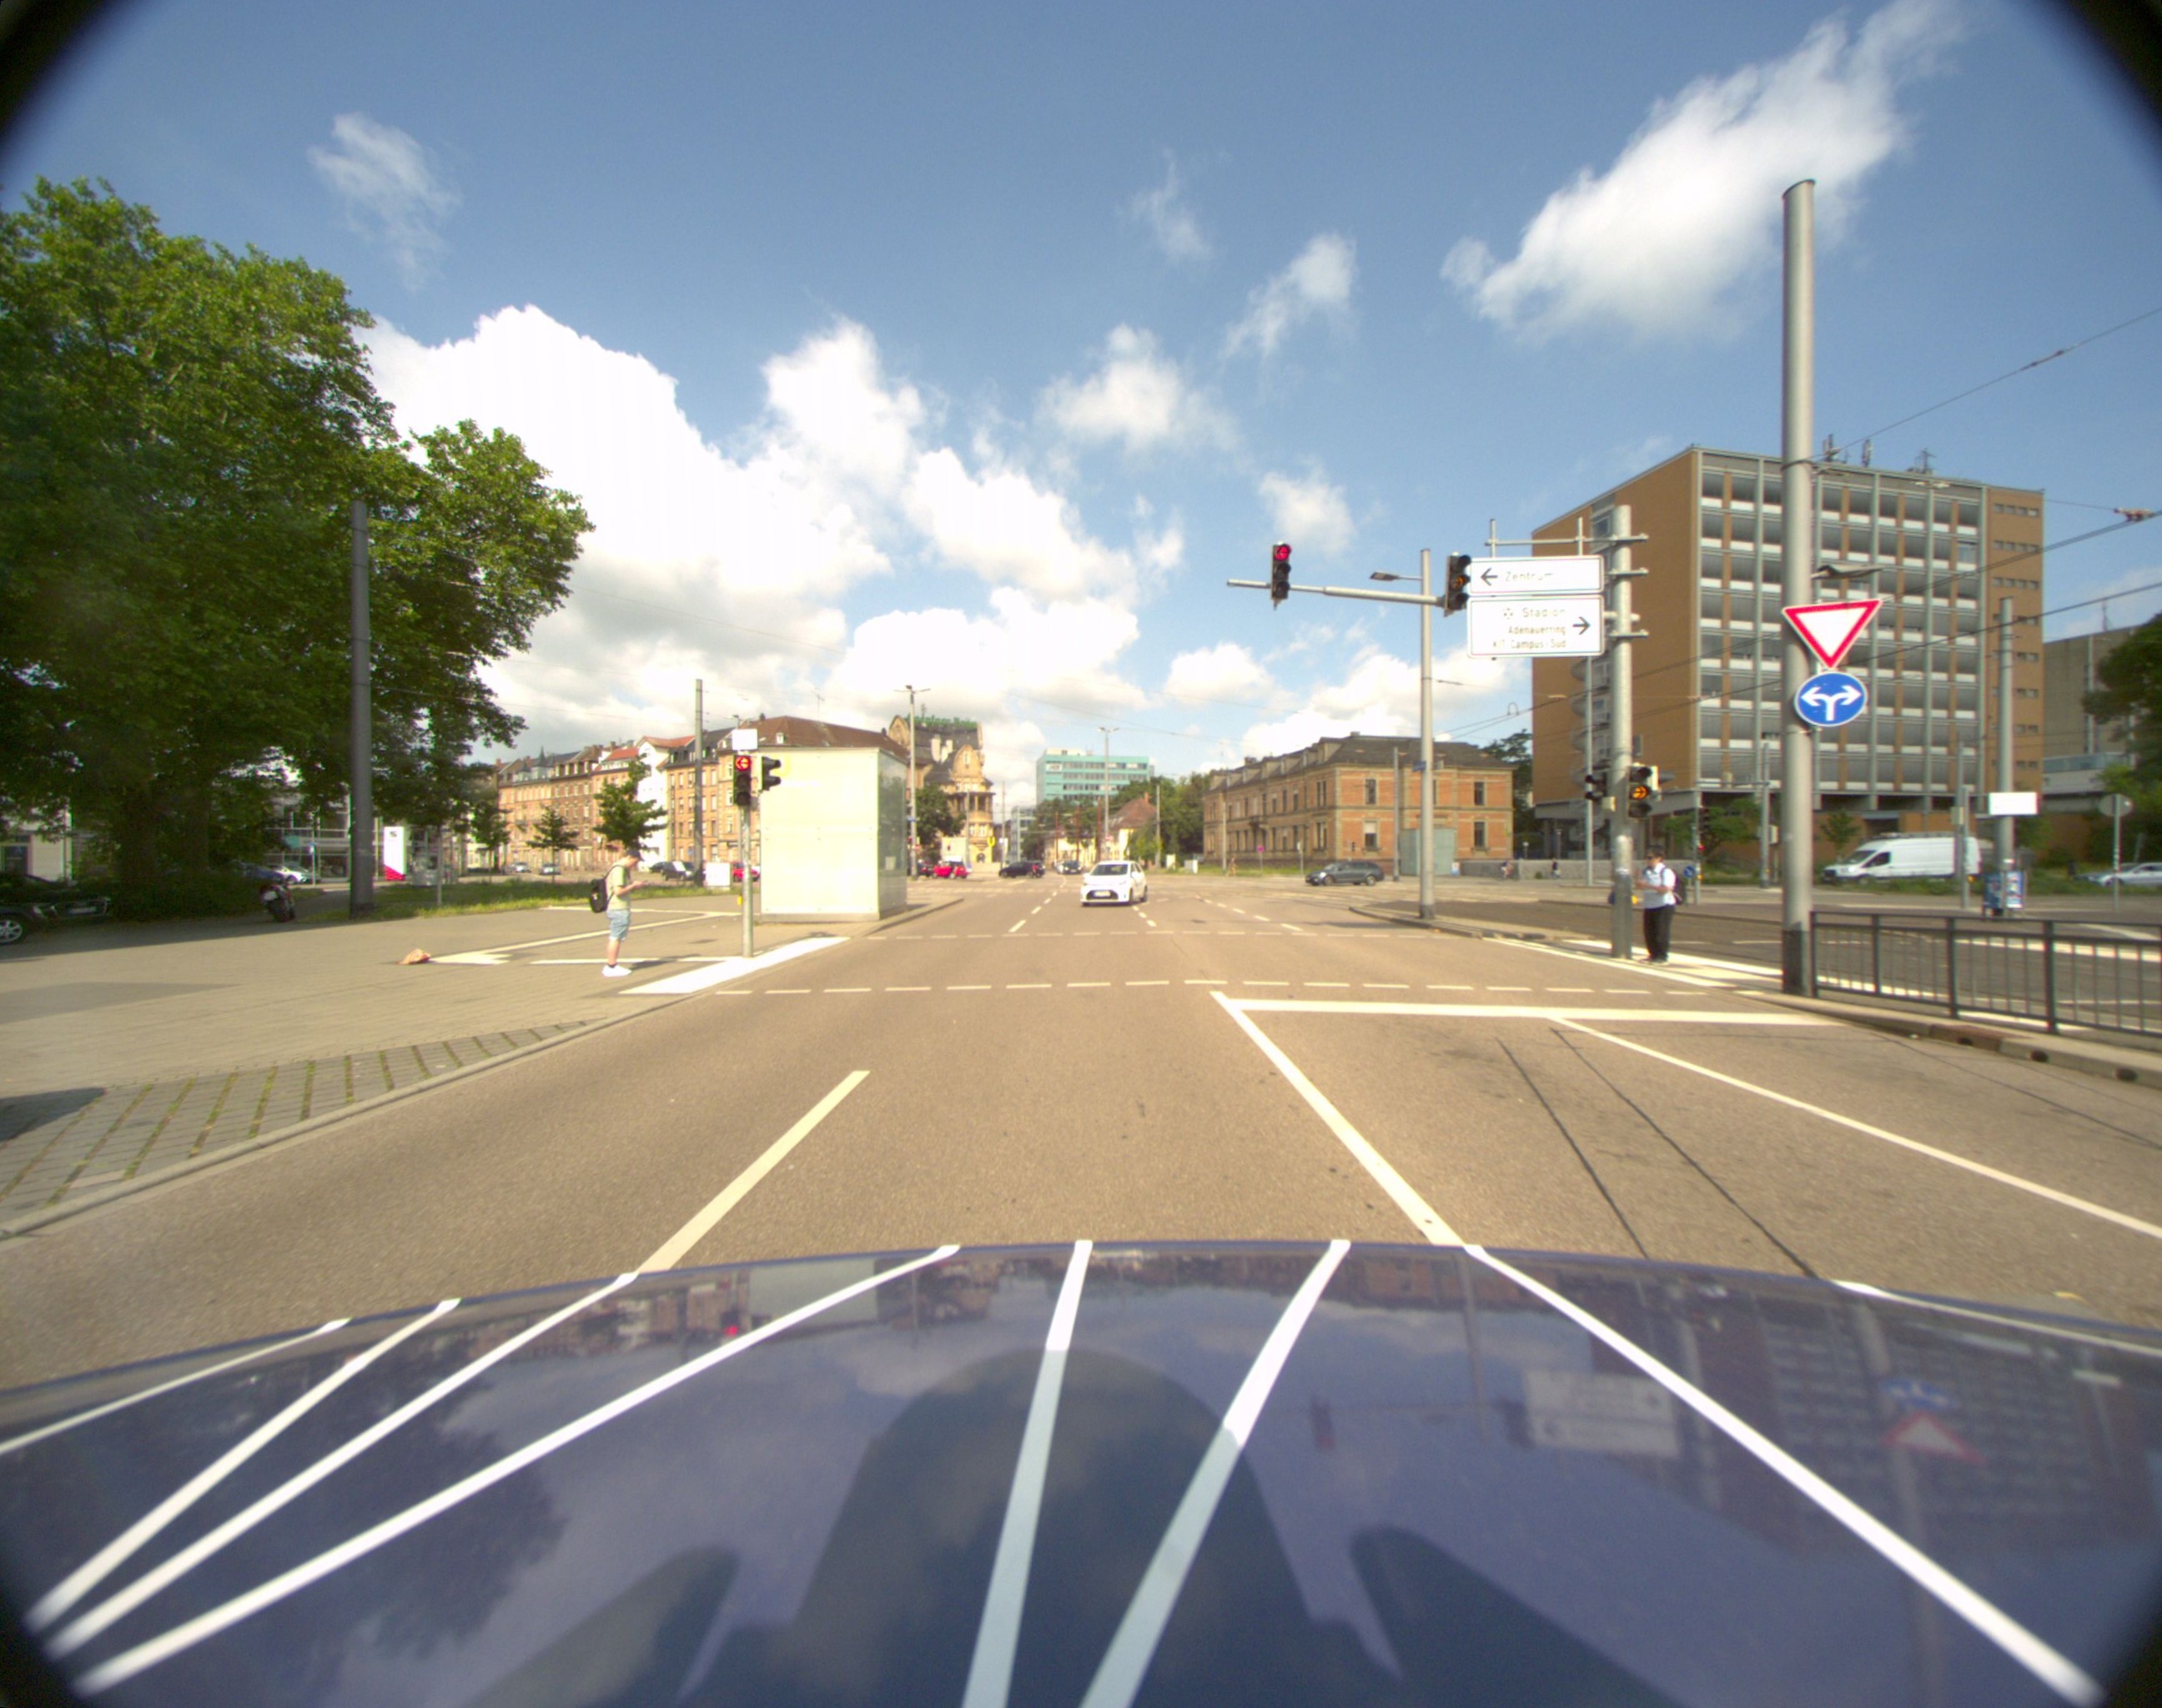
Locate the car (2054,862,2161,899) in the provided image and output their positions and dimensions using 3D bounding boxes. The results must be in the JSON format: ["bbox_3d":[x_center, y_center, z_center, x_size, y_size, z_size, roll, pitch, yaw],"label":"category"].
[{"bbox_3d":[57.377,1.474,41.939,4.133,1.763,2.000,-1,4,14],"label":"car"}]

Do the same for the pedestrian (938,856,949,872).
[{"bbox_3d":[-13.480,0.972,74.561,0.706,1.632,0.798,0,1,39],"label":"pedestrian"}]

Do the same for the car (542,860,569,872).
[{"bbox_3d":[-61.252,1.350,88.578,2.004,1.324,3.988,0,0,-43],"label":"car"}]

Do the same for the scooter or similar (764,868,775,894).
[{"bbox_3d":[-14.706,1.262,35.868,0.382,1.151,0.927,-1,1,-26],"label":"scooter or similar"}]

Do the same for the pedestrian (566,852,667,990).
[{"bbox_3d":[-6.431,0.887,10.589,0.996,1.750,0.784,-3,4,-23],"label":"pedestrian"}]

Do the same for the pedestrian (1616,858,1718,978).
[{"bbox_3d":[8.518,0.905,11.082,0.844,1.664,0.795,0,1,-1],"label":"pedestrian"}]

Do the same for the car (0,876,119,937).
[{"bbox_3d":[-27.405,1.295,19.233,3.996,1.412,1.797,0,0,3],"label":"car"}]

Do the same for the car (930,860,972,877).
[{"bbox_3d":[-10.853,1.227,63.345,3.003,1.208,1.612,-2,3,25],"label":"car"}]

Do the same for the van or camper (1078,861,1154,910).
[{"bbox_3d":[1.258,0.993,25.639,1.625,1.467,4.005,0,0,16],"label":"van or camper"}]

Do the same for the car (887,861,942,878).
[{"bbox_3d":[-15.376,1.420,70.110,4.498,1.390,2.002,0,3,20],"label":"car"}]

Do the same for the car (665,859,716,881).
[{"bbox_3d":[-31.482,1.292,61.229,3.988,1.544,2.003,1,4,37],"label":"car"}]

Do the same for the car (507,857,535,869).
[{"bbox_3d":[-75.215,1.191,102.053,3.988,1.696,1.790,0,0,35],"label":"car"}]

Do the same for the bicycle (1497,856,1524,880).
[{"bbox_3d":[32.189,1.016,56.952,0.733,1.767,1.632,-1,1,-44],"label":"bicycle"}]

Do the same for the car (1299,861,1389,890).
[{"bbox_3d":[15.488,1.256,44.854,4.544,1.274,1.997,-3,4,-7],"label":"car"}]

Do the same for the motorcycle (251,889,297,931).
[{"bbox_3d":[-20.635,1.412,19.461,0.606,0.898,1.889,-4,4,-42],"label":"motorcycle"}]

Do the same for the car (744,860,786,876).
[{"bbox_3d":[-33.959,1.511,81.716,4.222,1.438,1.687,-2,2,26],"label":"car"}]

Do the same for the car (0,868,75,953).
[{"bbox_3d":[-21.842,1.216,13.488,1.999,1.576,4.390,-2,2,0],"label":"car"}]

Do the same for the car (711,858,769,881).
[{"bbox_3d":[-25.396,1.123,56.498,3.988,1.511,2.003,0,5,34],"label":"car"}]

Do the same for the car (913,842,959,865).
[{"bbox_3d":[-14.229,-0.039,74.712,3.997,2.003,1.998,-2,4,0],"label":"car"}]

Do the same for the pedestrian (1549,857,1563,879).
[{"bbox_3d":[35.917,1.059,57.450,0.763,1.579,0.774,1,2,23],"label":"pedestrian"}]

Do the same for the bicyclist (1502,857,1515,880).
[{"bbox_3d":[32.091,1.092,57.033,0.575,1.661,0.654,-1,1,-44],"label":"bicyclist"}]

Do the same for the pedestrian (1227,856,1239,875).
[{"bbox_3d":[13.933,1.078,69.677,0.784,1.727,0.858,0,0,-14],"label":"pedestrian"}]

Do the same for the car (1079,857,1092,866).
[{"bbox_3d":[0.835,1.395,148.174,1.756,1.522,3.994,-1,3,-9],"label":"car"}]

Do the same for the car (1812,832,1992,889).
[{"bbox_3d":[43.538,0.343,40.495,6.137,2.862,2.489,0,0,14],"label":"car"}]

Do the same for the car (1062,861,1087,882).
[{"bbox_3d":[-0.743,1.813,80.677,2.000,1.730,4.335,-3,4,-9],"label":"car"}]

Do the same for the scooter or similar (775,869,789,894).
[{"bbox_3d":[-14.279,1.288,36.278,0.382,1.151,0.927,-1,2,-38],"label":"scooter or similar"}]

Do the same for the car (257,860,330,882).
[{"bbox_3d":[-58.707,1.254,56.680,3.993,1.543,1.927,0,0,11],"label":"car"}]

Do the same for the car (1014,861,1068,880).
[{"bbox_3d":[-3.270,1.361,62.244,3.990,1.446,1.716,-1,3,24],"label":"car"}]

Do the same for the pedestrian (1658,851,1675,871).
[{"bbox_3d":[47.221,0.565,61.261,0.766,1.579,0.936,-1,0,-43],"label":"pedestrian"}]

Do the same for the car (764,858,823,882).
[{"bbox_3d":[-20.403,1.097,53.824,3.988,1.505,1.829,0,5,34],"label":"car"}]
